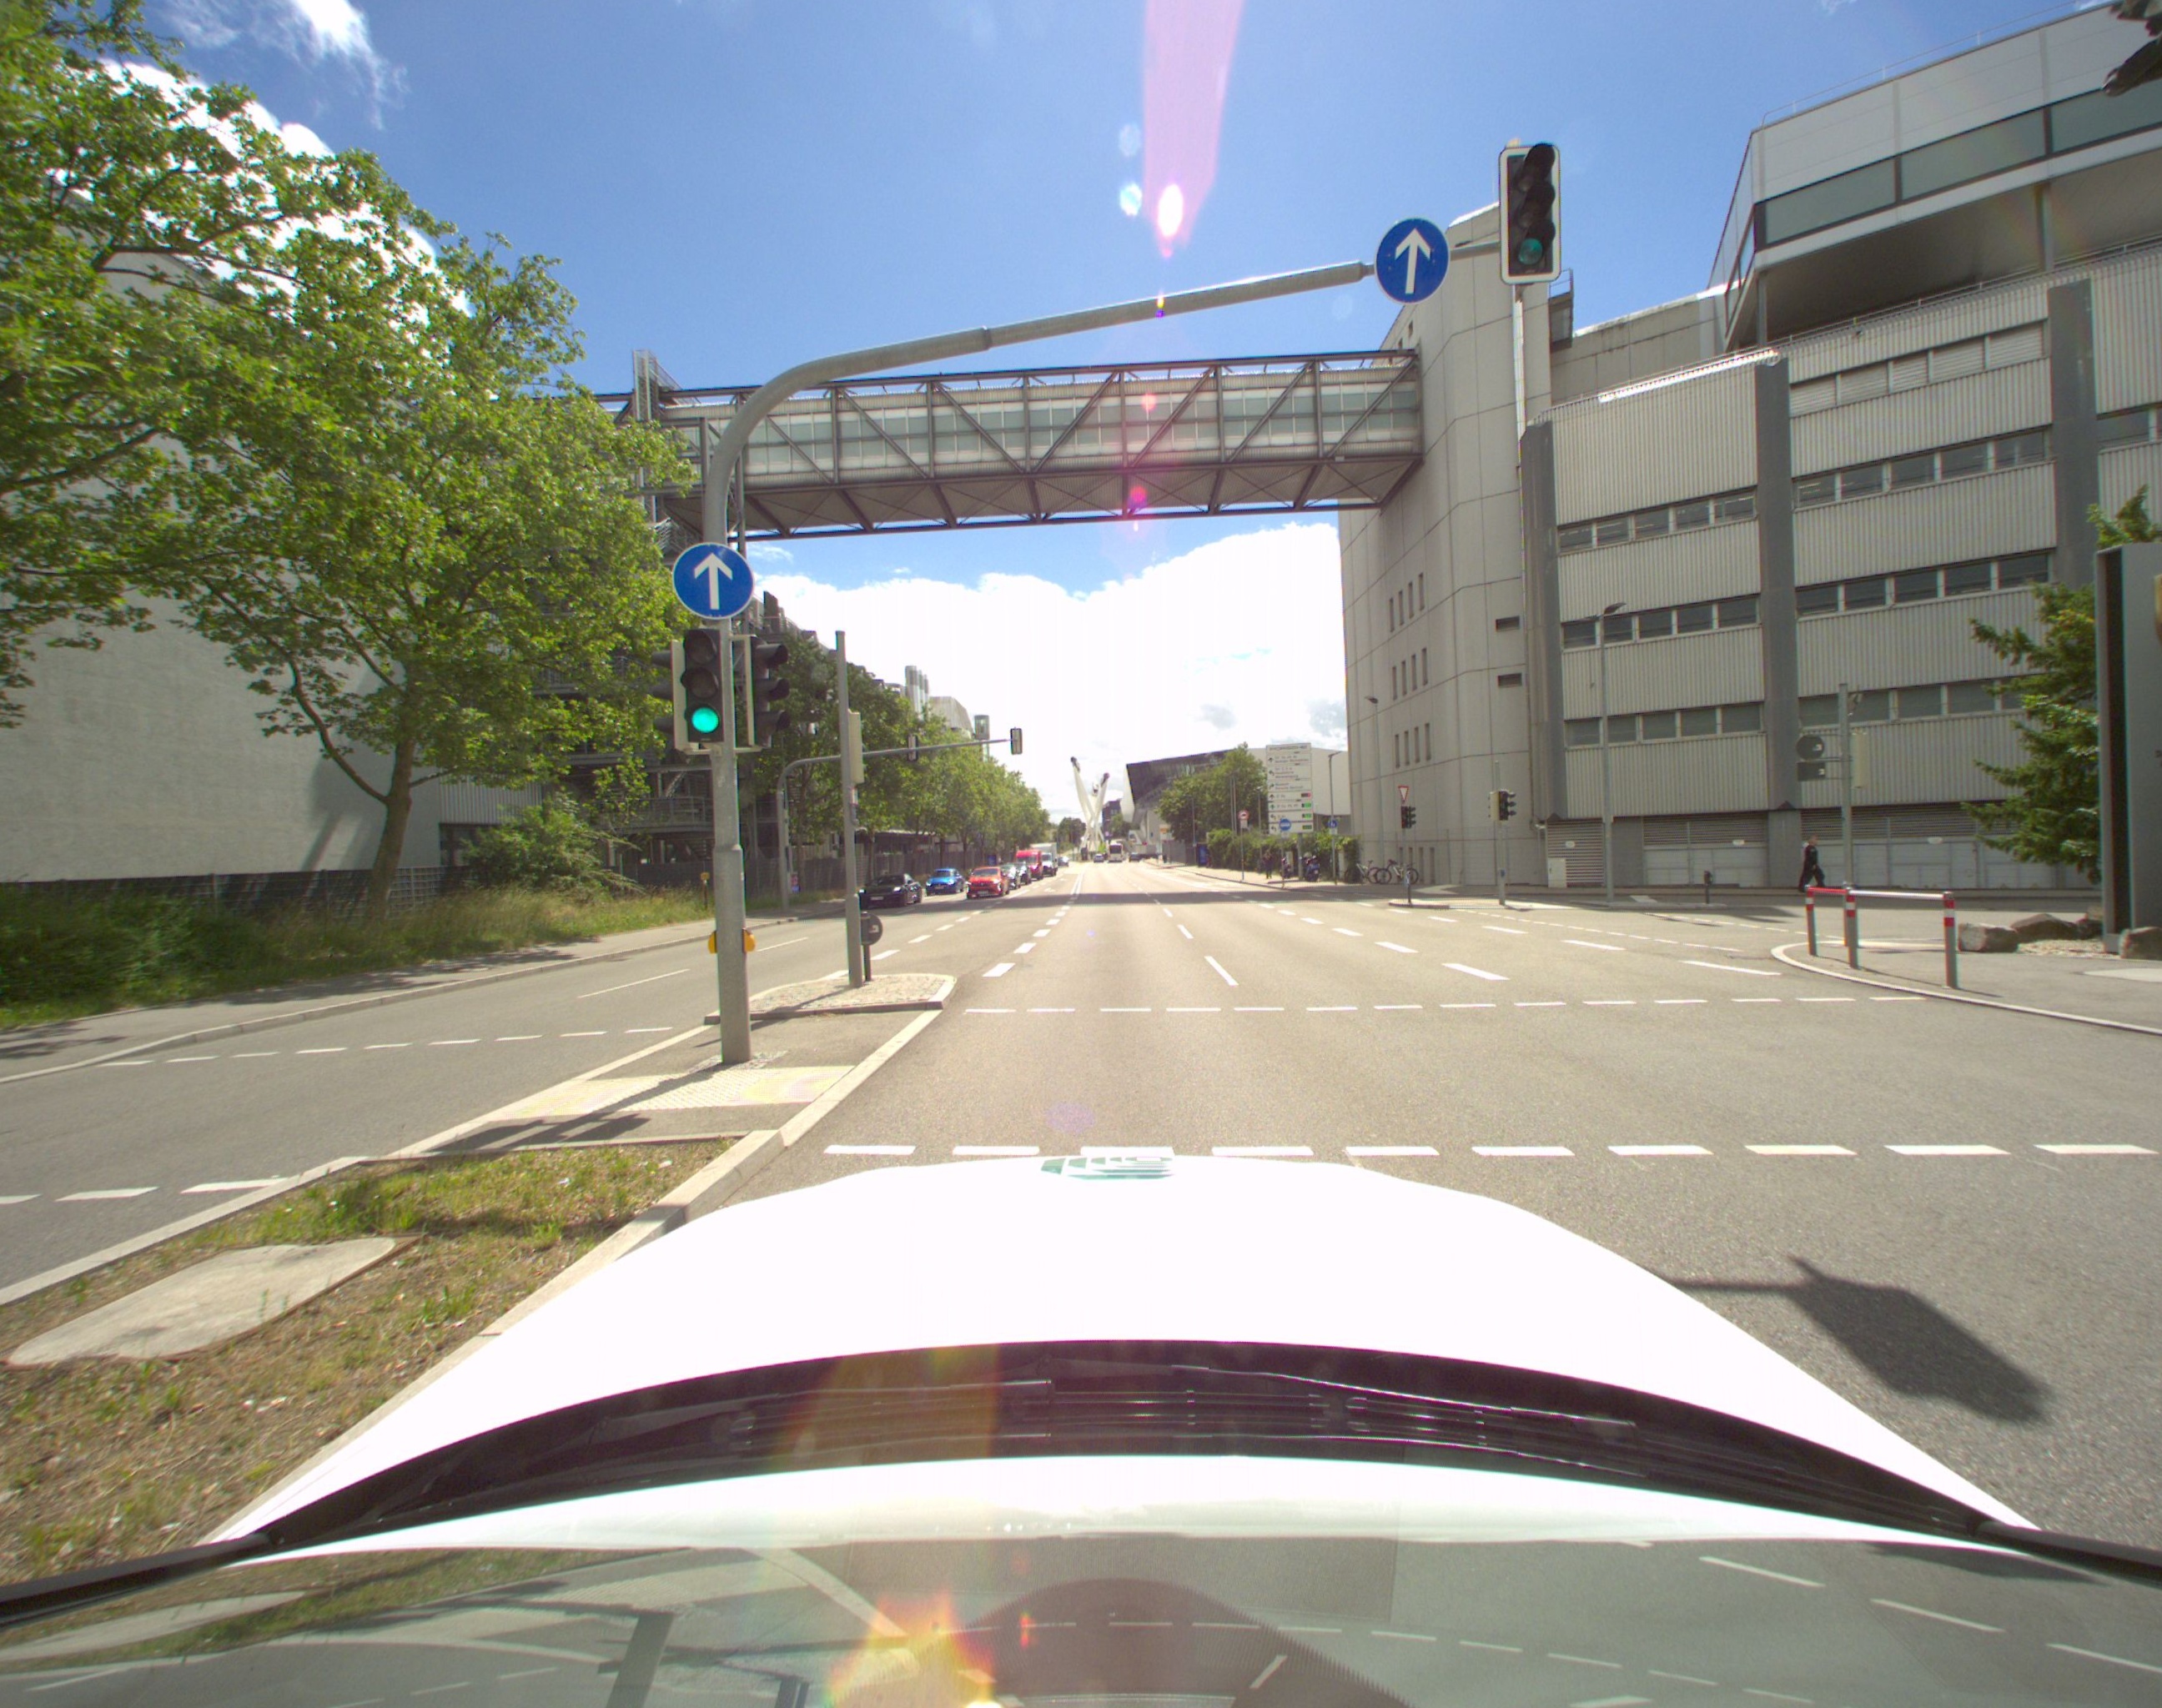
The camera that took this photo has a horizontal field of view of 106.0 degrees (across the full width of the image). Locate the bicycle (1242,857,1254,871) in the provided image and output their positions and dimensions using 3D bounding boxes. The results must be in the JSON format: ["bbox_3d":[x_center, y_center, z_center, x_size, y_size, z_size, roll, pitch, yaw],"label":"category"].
[{"bbox_3d":[12.694,0.752,61.904,0.417,1.022,1.911,0,-1,-2],"label":"bicycle"}]

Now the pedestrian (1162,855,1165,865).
[{"bbox_3d":[12.412,0.904,122.601,0.384,1.421,0.424,0,-1,2],"label":"pedestrian"}]

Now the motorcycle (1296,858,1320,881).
[{"bbox_3d":[11.597,0.797,41.670,0.418,1.166,1.951,0,-1,-9],"label":"motorcycle"}]

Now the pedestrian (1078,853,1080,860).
[{"bbox_3d":[-0.482,0.595,176.518,0.384,1.421,0.423,0,-1,-1],"label":"pedestrian"}]

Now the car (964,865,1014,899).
[{"bbox_3d":[-4.369,1.326,39.211,1.762,1.420,3.703,-4,0,3],"label":"car"}]

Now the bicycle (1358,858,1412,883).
[{"bbox_3d":[13.457,0.752,36.134,2.196,1.087,0.480,-1,-1,37],"label":"bicycle"}]

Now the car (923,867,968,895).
[{"bbox_3d":[-7.803,1.536,47.212,1.720,1.382,3.703,-4,0,3],"label":"car"}]

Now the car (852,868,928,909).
[{"bbox_3d":[-8.254,1.459,35.667,1.910,1.488,4.775,-4,0,3],"label":"car"}]

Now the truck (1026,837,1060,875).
[{"bbox_3d":[-3.500,0.245,76.859,2.581,3.324,7.083,0,-1,3],"label":"truck"}]

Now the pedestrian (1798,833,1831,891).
[{"bbox_3d":[22.789,0.255,25.296,0.650,1.755,0.524,-1,3,29],"label":"pedestrian"}]

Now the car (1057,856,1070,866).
[{"bbox_3d":[-2.538,1.020,118.718,1.551,1.273,3.703,-4,0,3],"label":"car"}]

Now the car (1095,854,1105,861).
[{"bbox_3d":[3.357,0.627,145.821,1.551,1.273,3.704,-4,0,3],"label":"car"}]

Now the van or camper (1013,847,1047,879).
[{"bbox_3d":[-4.101,0.718,66.291,2.038,2.466,5.598,-1,0,3],"label":"van or camper"}]

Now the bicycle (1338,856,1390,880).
[{"bbox_3d":[13.025,0.640,37.479,2.196,1.087,0.480,-1,-1,37],"label":"bicycle"}]

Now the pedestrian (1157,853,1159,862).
[{"bbox_3d":[11.979,0.543,126.673,0.384,1.421,0.424,0,-1,2],"label":"pedestrian"}]

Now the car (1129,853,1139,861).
[{"bbox_3d":[9.365,0.593,144.225,1.551,1.273,3.704,-4,0,3],"label":"car"}]

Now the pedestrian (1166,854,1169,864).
[{"bbox_3d":[12.997,0.764,122.585,0.384,1.421,0.424,0,-1,2],"label":"pedestrian"}]

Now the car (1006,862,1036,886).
[{"bbox_3d":[-4.133,1.373,56.364,1.551,1.448,3.775,-4,0,3],"label":"car"}]

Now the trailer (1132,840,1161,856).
[{"bbox_3d":[13.880,-1.177,171.300,3.291,2.995,10.429,-1,-1,21],"label":"trailer"}]

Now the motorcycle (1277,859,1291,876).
[{"bbox_3d":[12.128,0.798,48.646,0.455,1.022,1.914,-1,-1,4],"label":"motorcycle"}]

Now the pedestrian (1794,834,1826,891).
[{"bbox_3d":[23.080,0.259,25.801,0.650,1.760,0.487,-1,2,29],"label":"pedestrian"}]

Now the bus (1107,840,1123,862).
[{"bbox_3d":[6.197,-0.487,147.318,2.776,3.686,6.947,0,-1,3],"label":"bus"}]

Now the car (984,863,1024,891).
[{"bbox_3d":[-4.516,1.338,48.412,1.762,1.420,3.703,-4,0,3],"label":"car"}]

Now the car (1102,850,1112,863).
[{"bbox_3d":[5.174,0.575,164.011,1.836,2.624,4.003,0,-1,3],"label":"car"}]

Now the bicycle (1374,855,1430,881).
[{"bbox_3d":[13.817,0.602,35.121,2.166,1.087,0.480,-1,-1,37],"label":"bicycle"}]

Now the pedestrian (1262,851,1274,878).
[{"bbox_3d":[11.220,0.639,48.912,0.532,1.640,0.657,0,-1,-4],"label":"pedestrian"}]
